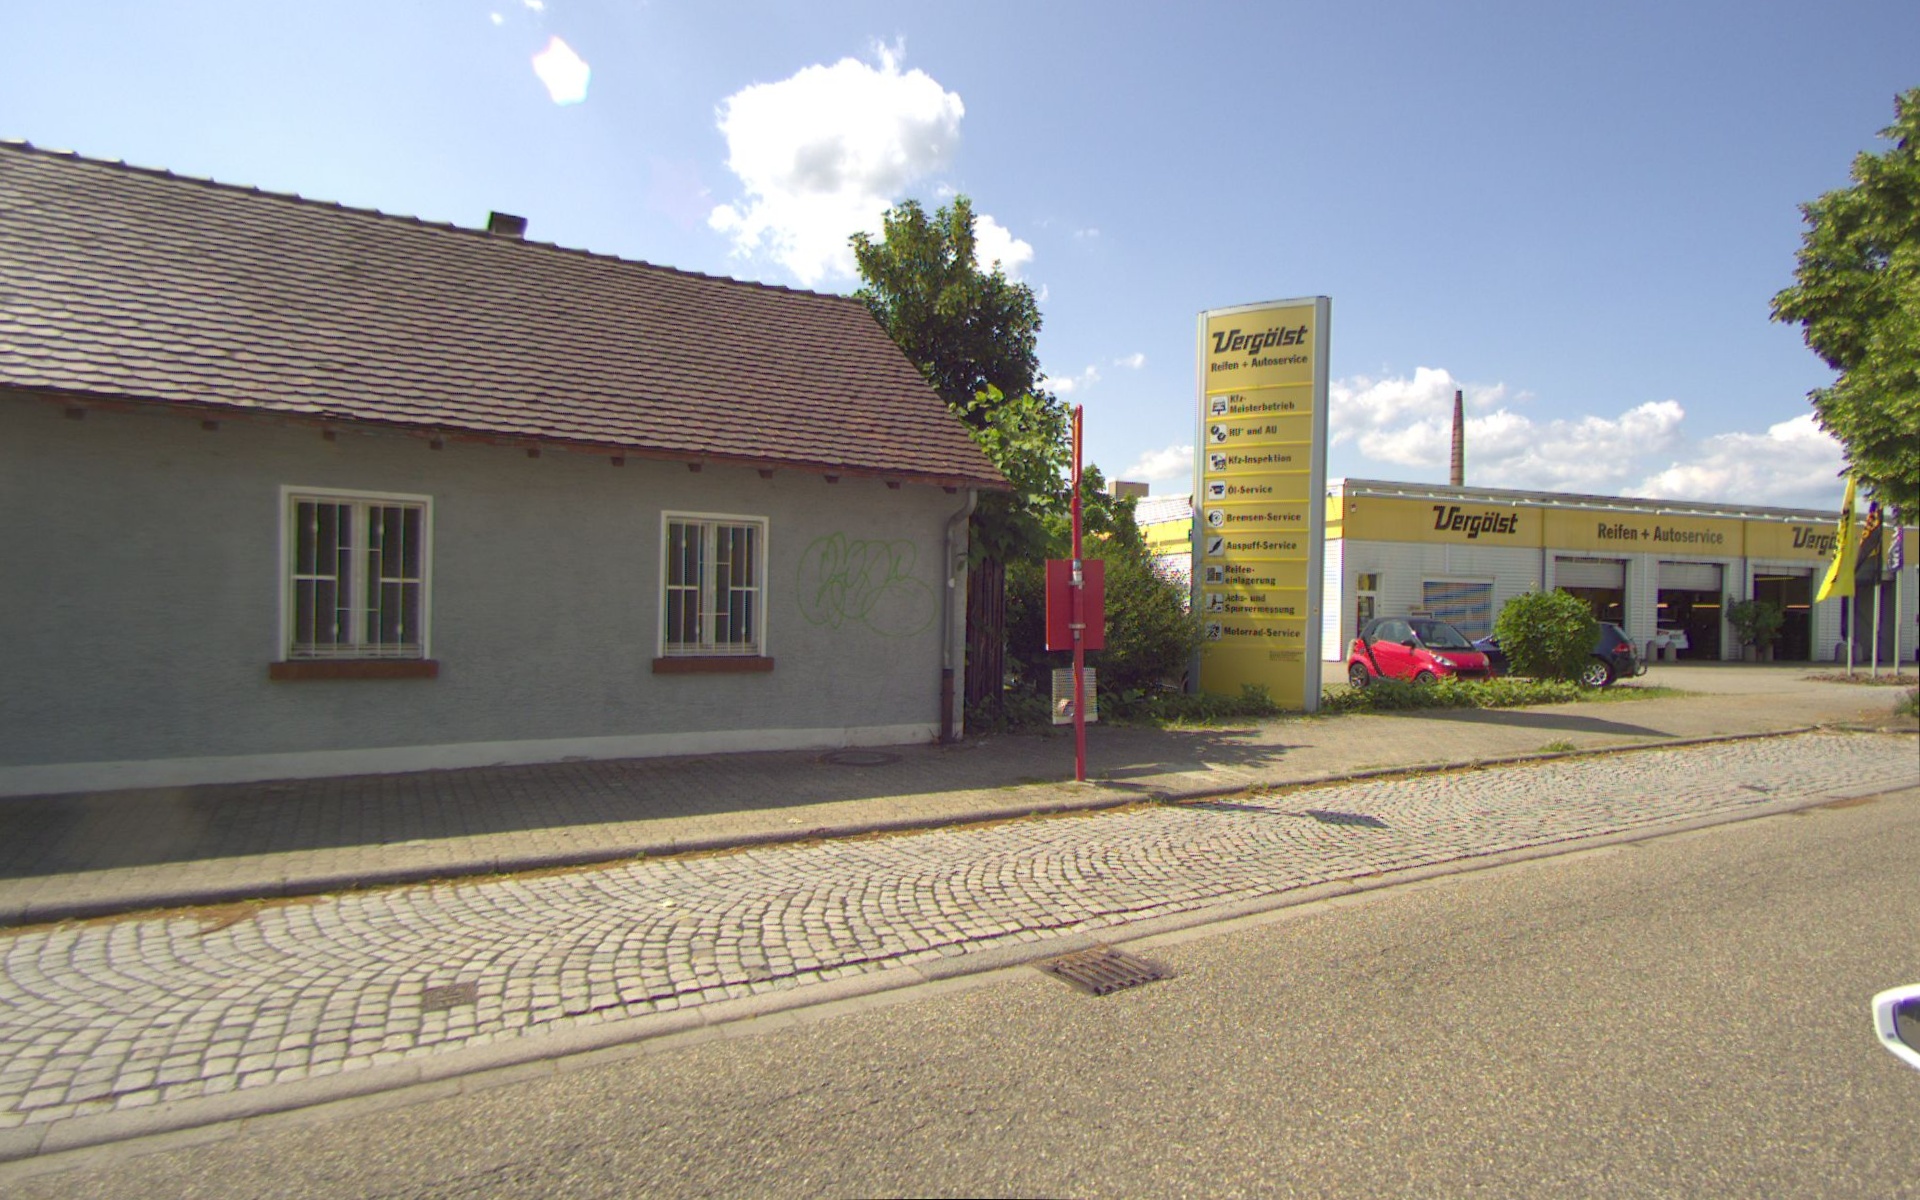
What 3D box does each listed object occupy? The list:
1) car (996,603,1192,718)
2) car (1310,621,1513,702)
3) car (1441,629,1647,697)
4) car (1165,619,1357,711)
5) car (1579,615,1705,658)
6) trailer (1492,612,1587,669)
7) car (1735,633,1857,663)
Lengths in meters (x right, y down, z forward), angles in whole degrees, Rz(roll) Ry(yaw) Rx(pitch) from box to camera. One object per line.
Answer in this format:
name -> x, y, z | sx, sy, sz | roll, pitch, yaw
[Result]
car -> 2.122, 0.917, 16.971 | 1.764, 1.694, 3.762 | 1, 0, -19
car -> 9.139, 1.192, 20.662 | 1.703, 1.441, 3.835 | 1, 0, -17
car -> 13.139, 1.359, 22.705 | 3.745, 1.396, 1.869 | -1, -2, 41
car -> 5.341, 1.108, 18.254 | 1.637, 1.441, 3.403 | 1, 0, -20
car -> 25.574, 1.347, 37.835 | 1.951, 1.483, 3.999 | 1, 0, -2
trailer -> 17.628, 1.231, 30.584 | 2.169, 1.671, 1.370 | 1, 0, -15
car -> 33.798, 1.932, 40.733 | 1.515, 1.051, 3.637 | 1, 0, -12
